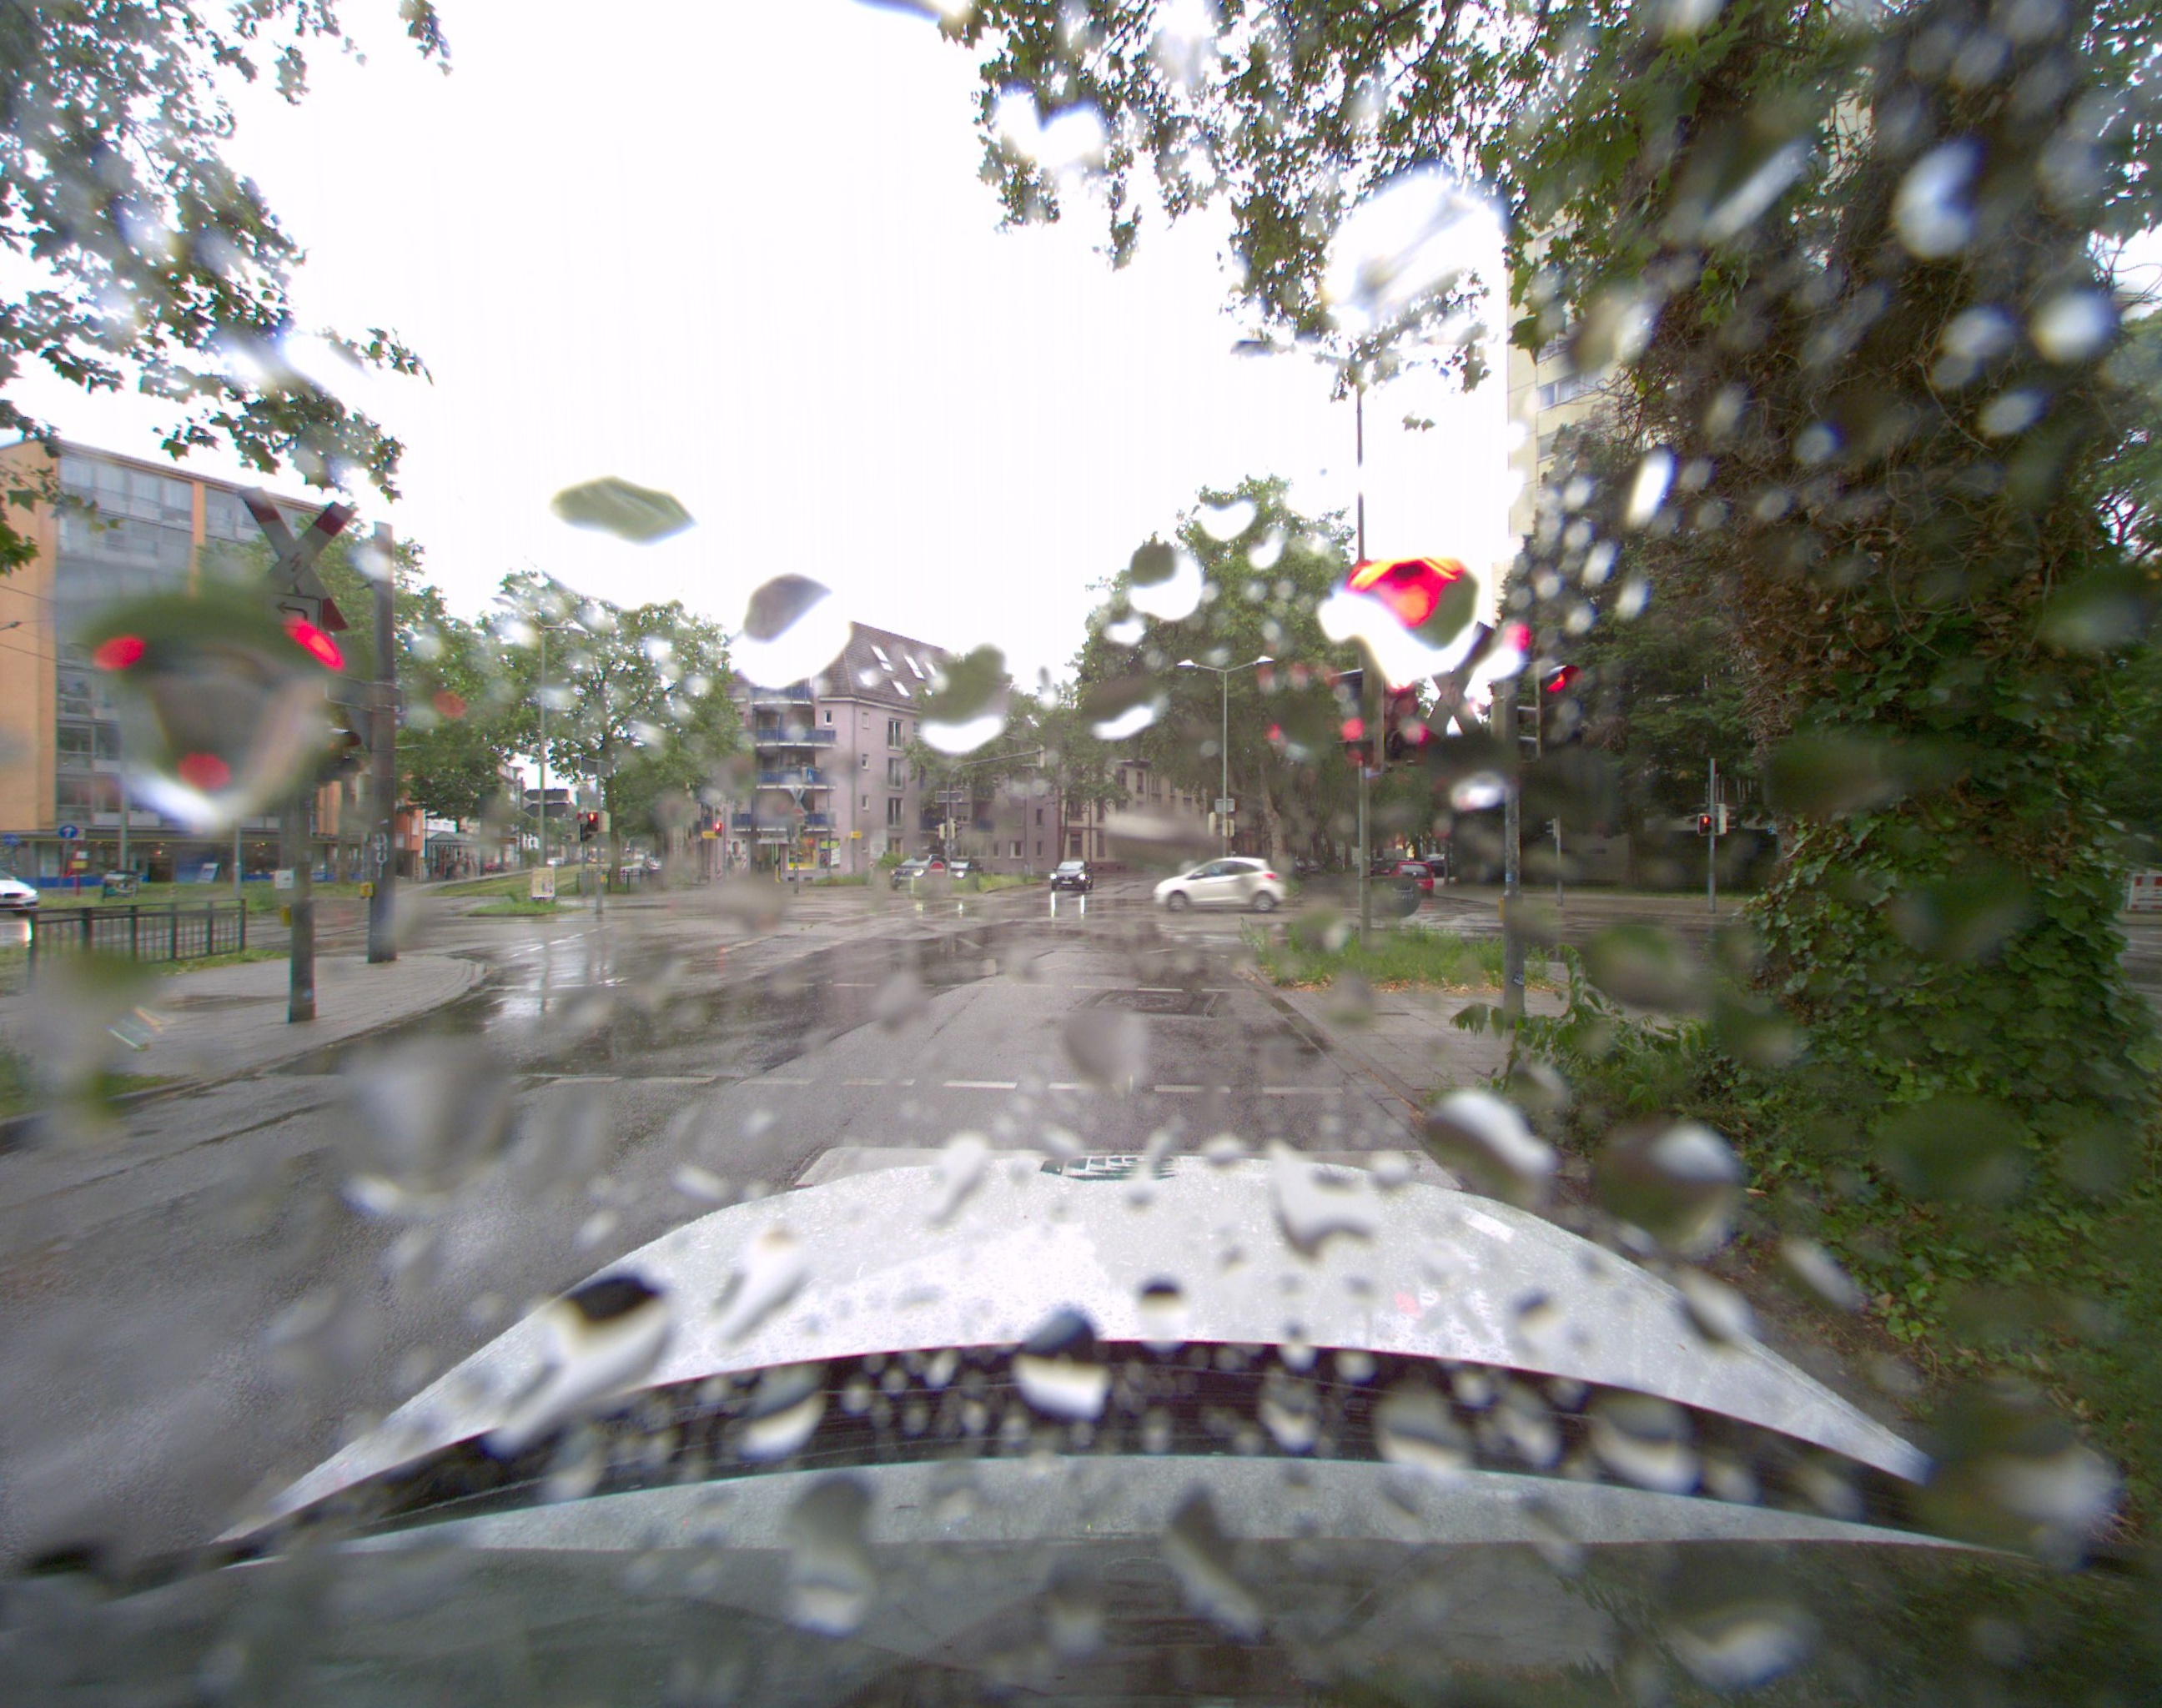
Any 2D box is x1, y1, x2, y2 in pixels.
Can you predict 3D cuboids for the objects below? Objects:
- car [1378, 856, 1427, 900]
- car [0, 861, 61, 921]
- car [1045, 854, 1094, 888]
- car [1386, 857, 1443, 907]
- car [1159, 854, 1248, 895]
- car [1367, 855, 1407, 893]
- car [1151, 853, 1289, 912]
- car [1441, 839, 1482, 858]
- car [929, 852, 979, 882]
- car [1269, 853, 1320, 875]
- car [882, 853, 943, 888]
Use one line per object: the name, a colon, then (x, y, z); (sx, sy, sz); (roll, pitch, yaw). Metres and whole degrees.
car: (15.964, 1.161, 40.584); (1.977, 2.013, 4.019); (-2, 0, 18)
car: (-32.154, 1.104, 23.416); (3.978, 1.651, 1.980); (-2, 0, 13)
car: (-0.521, 0.819, 40.803); (1.591, 1.552, 3.572); (-2, 0, 13)
car: (14.769, 1.205, 36.222); (1.977, 2.013, 4.019); (-2, 0, 18)
car: (4.982, 0.812, 32.970); (3.457, 1.523, 1.524); (-2, 0, 10)
car: (17.811, 1.116, 47.580); (1.977, 2.013, 4.019); (-2, 0, 18)
car: (3.901, 0.774, 22.708); (3.615, 1.486, 1.731); (-2, 0, 13)
car: (42.560, -0.615, 91.131); (3.953, 2.013, 1.716); (-2, 0, 21)
car: (-6.987, 0.704, 45.214); (1.715, 1.552, 3.567); (-2, 0, 8)
car: (17.039, 0.789, 65.086); (3.571, 1.618, 1.692); (-2, 0, 30)
car: (-8.030, 0.744, 39.148); (1.715, 1.552, 3.567); (-2, 0, 8)
